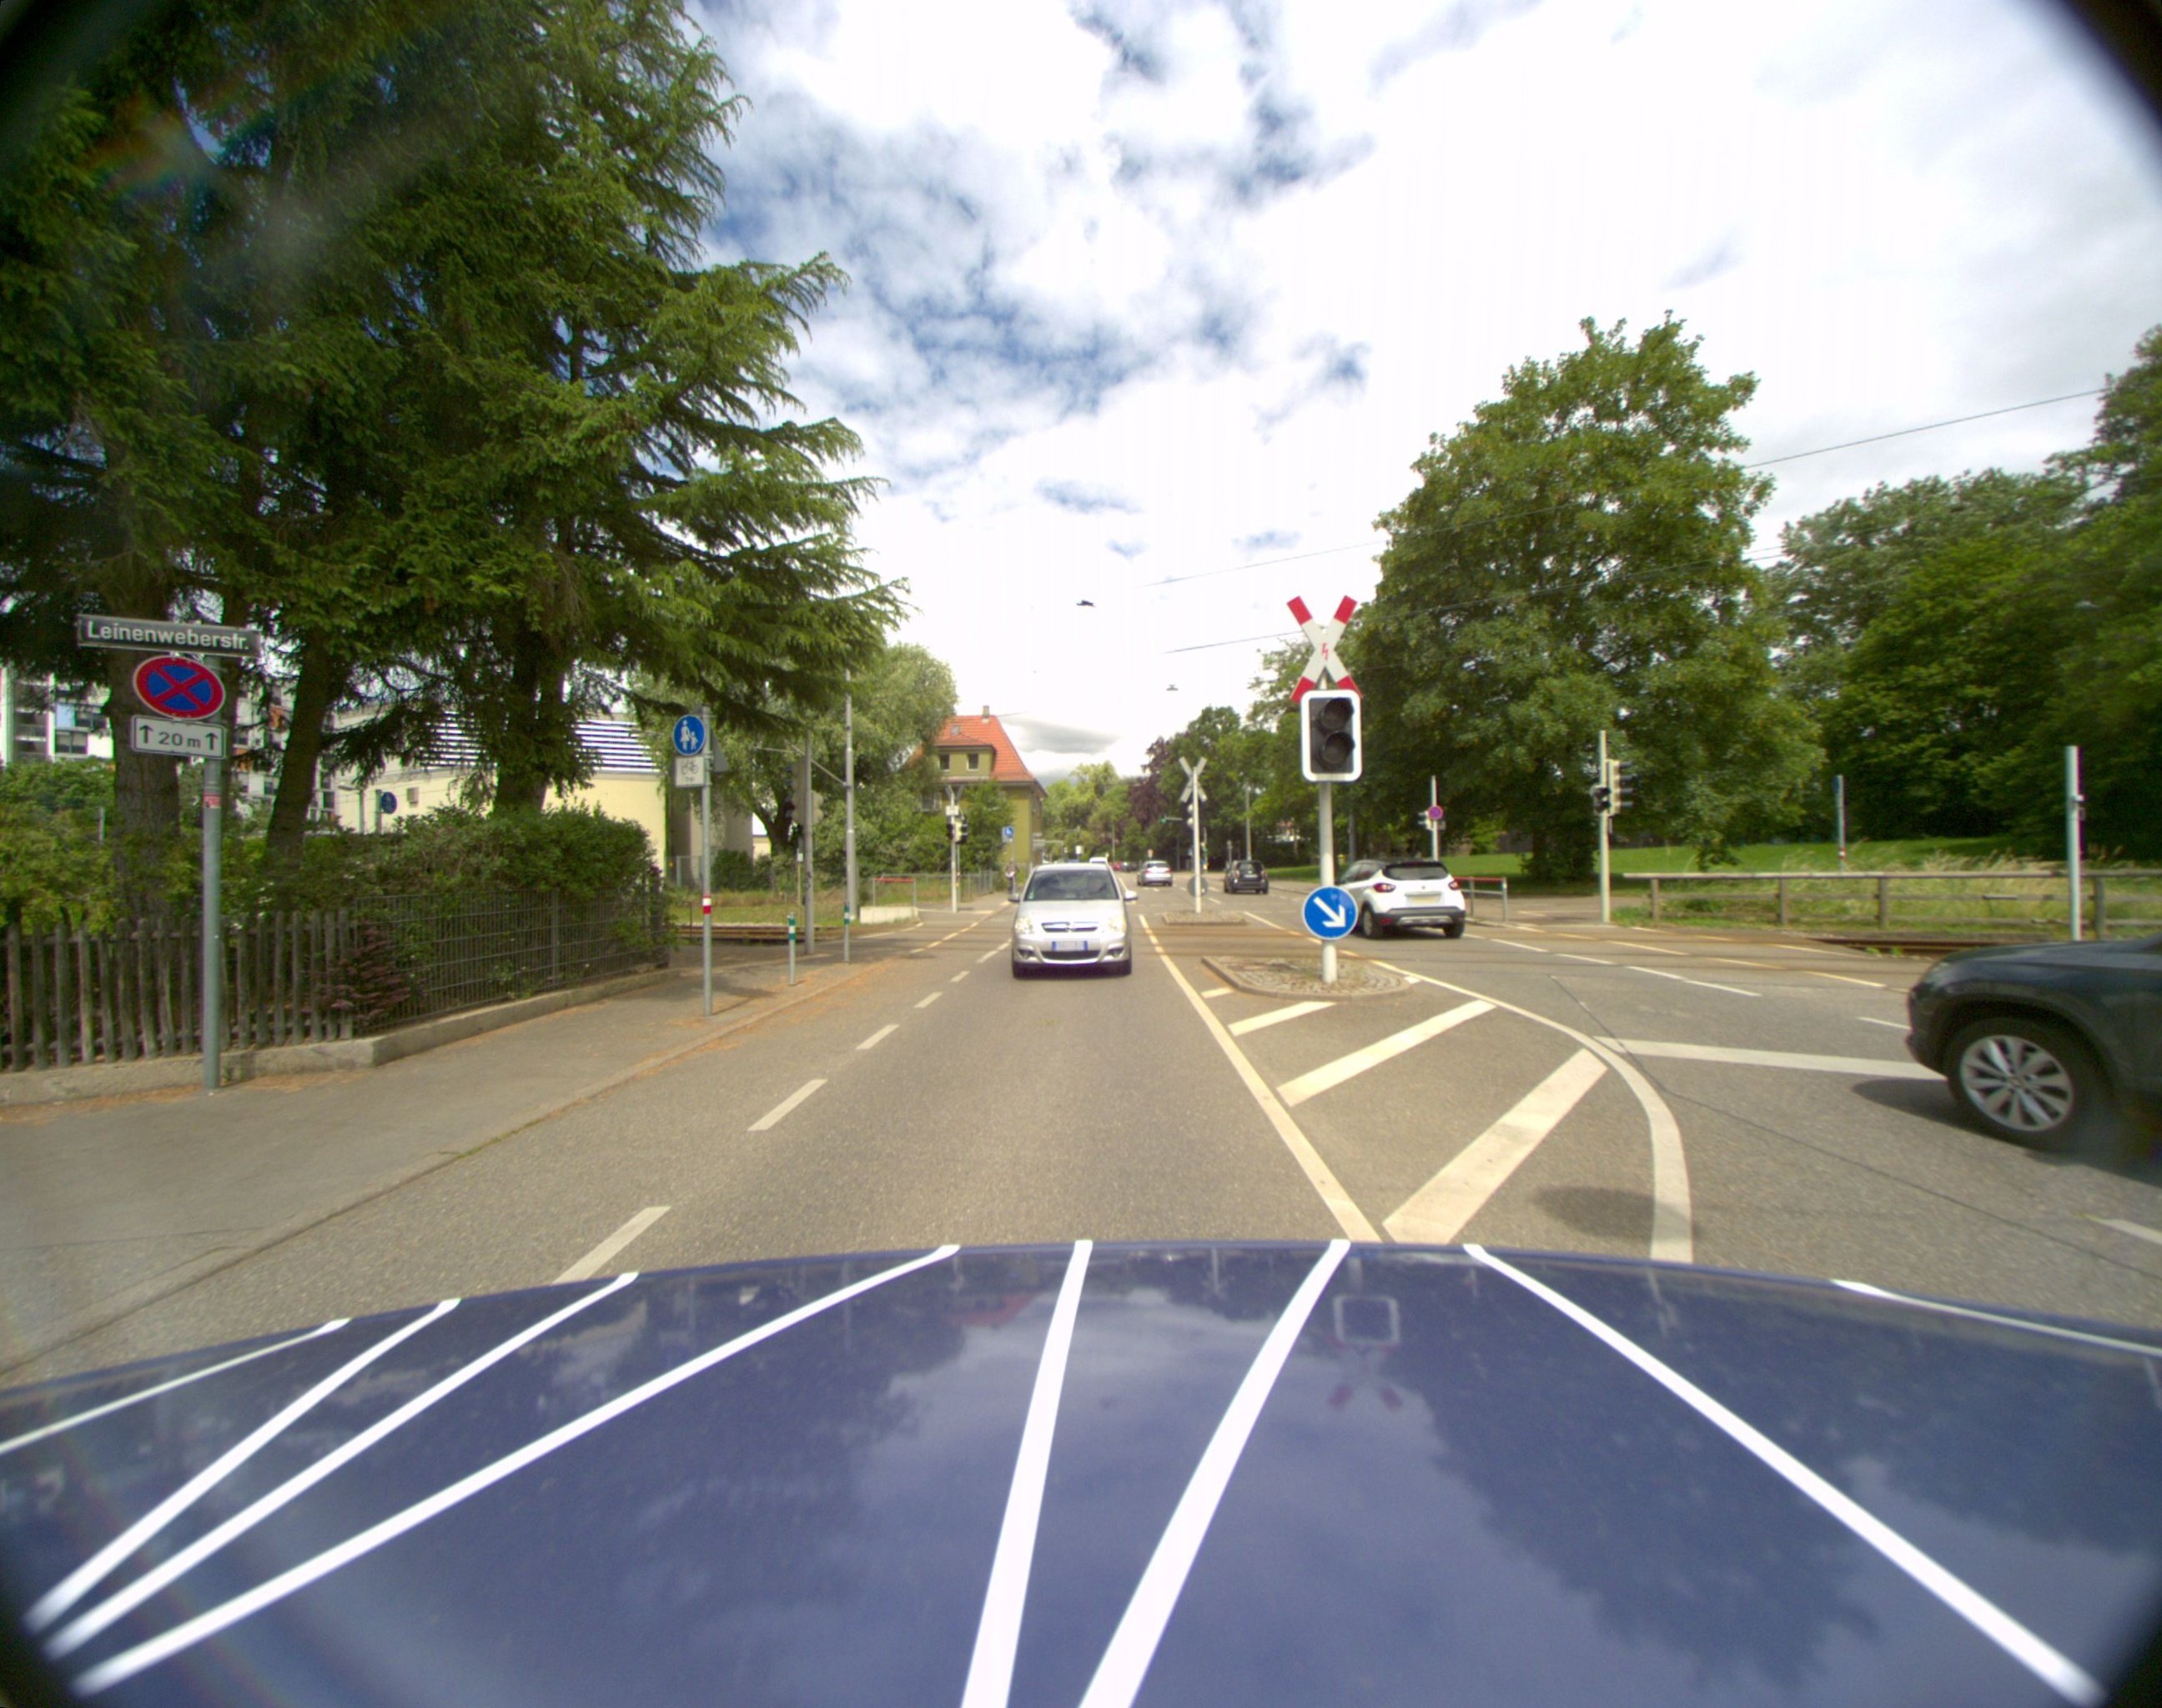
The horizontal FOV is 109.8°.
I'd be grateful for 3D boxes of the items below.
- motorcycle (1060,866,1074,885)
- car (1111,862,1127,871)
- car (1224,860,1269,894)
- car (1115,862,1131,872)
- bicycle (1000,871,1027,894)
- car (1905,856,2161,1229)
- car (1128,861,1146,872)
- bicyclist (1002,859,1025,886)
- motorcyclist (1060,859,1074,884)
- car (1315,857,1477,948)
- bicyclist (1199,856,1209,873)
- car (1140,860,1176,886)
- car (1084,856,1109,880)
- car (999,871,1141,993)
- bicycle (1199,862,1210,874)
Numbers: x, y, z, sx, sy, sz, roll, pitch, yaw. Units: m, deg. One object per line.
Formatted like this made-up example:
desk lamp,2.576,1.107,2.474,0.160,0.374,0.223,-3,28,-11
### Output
motorcycle,-0.877,1.347,47.813,0.837,1.101,1.800,1,0,1
car,6.064,1.989,121.995,1.899,1.501,3.998,0,0,-5
car,7.513,1.025,34.729,1.578,1.501,2.789,-1,-1,4
car,6.477,1.983,117.186,1.899,1.501,3.998,0,0,-5
bicycle,-3.217,1.336,36.378,0.934,1.034,1.916,1,-1,5
car,5.504,0.808,2.238,1.779,1.594,4.039,1,0,0
car,7.896,1.822,108.012,1.899,1.501,3.998,0,0,-5
bicyclist,-3.214,0.890,36.391,0.934,1.240,1.103,1,0,5
motorcyclist,-0.884,1.076,47.868,0.837,1.547,0.650,1,1,1
car,6.290,0.889,15.720,1.779,1.594,4.040,-2,0,3
bicyclist,12.161,1.053,74.920,0.807,1.599,0.772,-3,0,1
car,4.512,1.081,44.920,1.692,1.449,4.069,0,0,0
car,1.295,1.180,65.393,1.999,1.983,4.370,0,0,-2
car,-0.047,1.042,11.724,1.780,1.519,4.002,-1,-1,3
bicycle,12.179,1.356,74.992,0.813,1.101,1.800,-3,0,1
